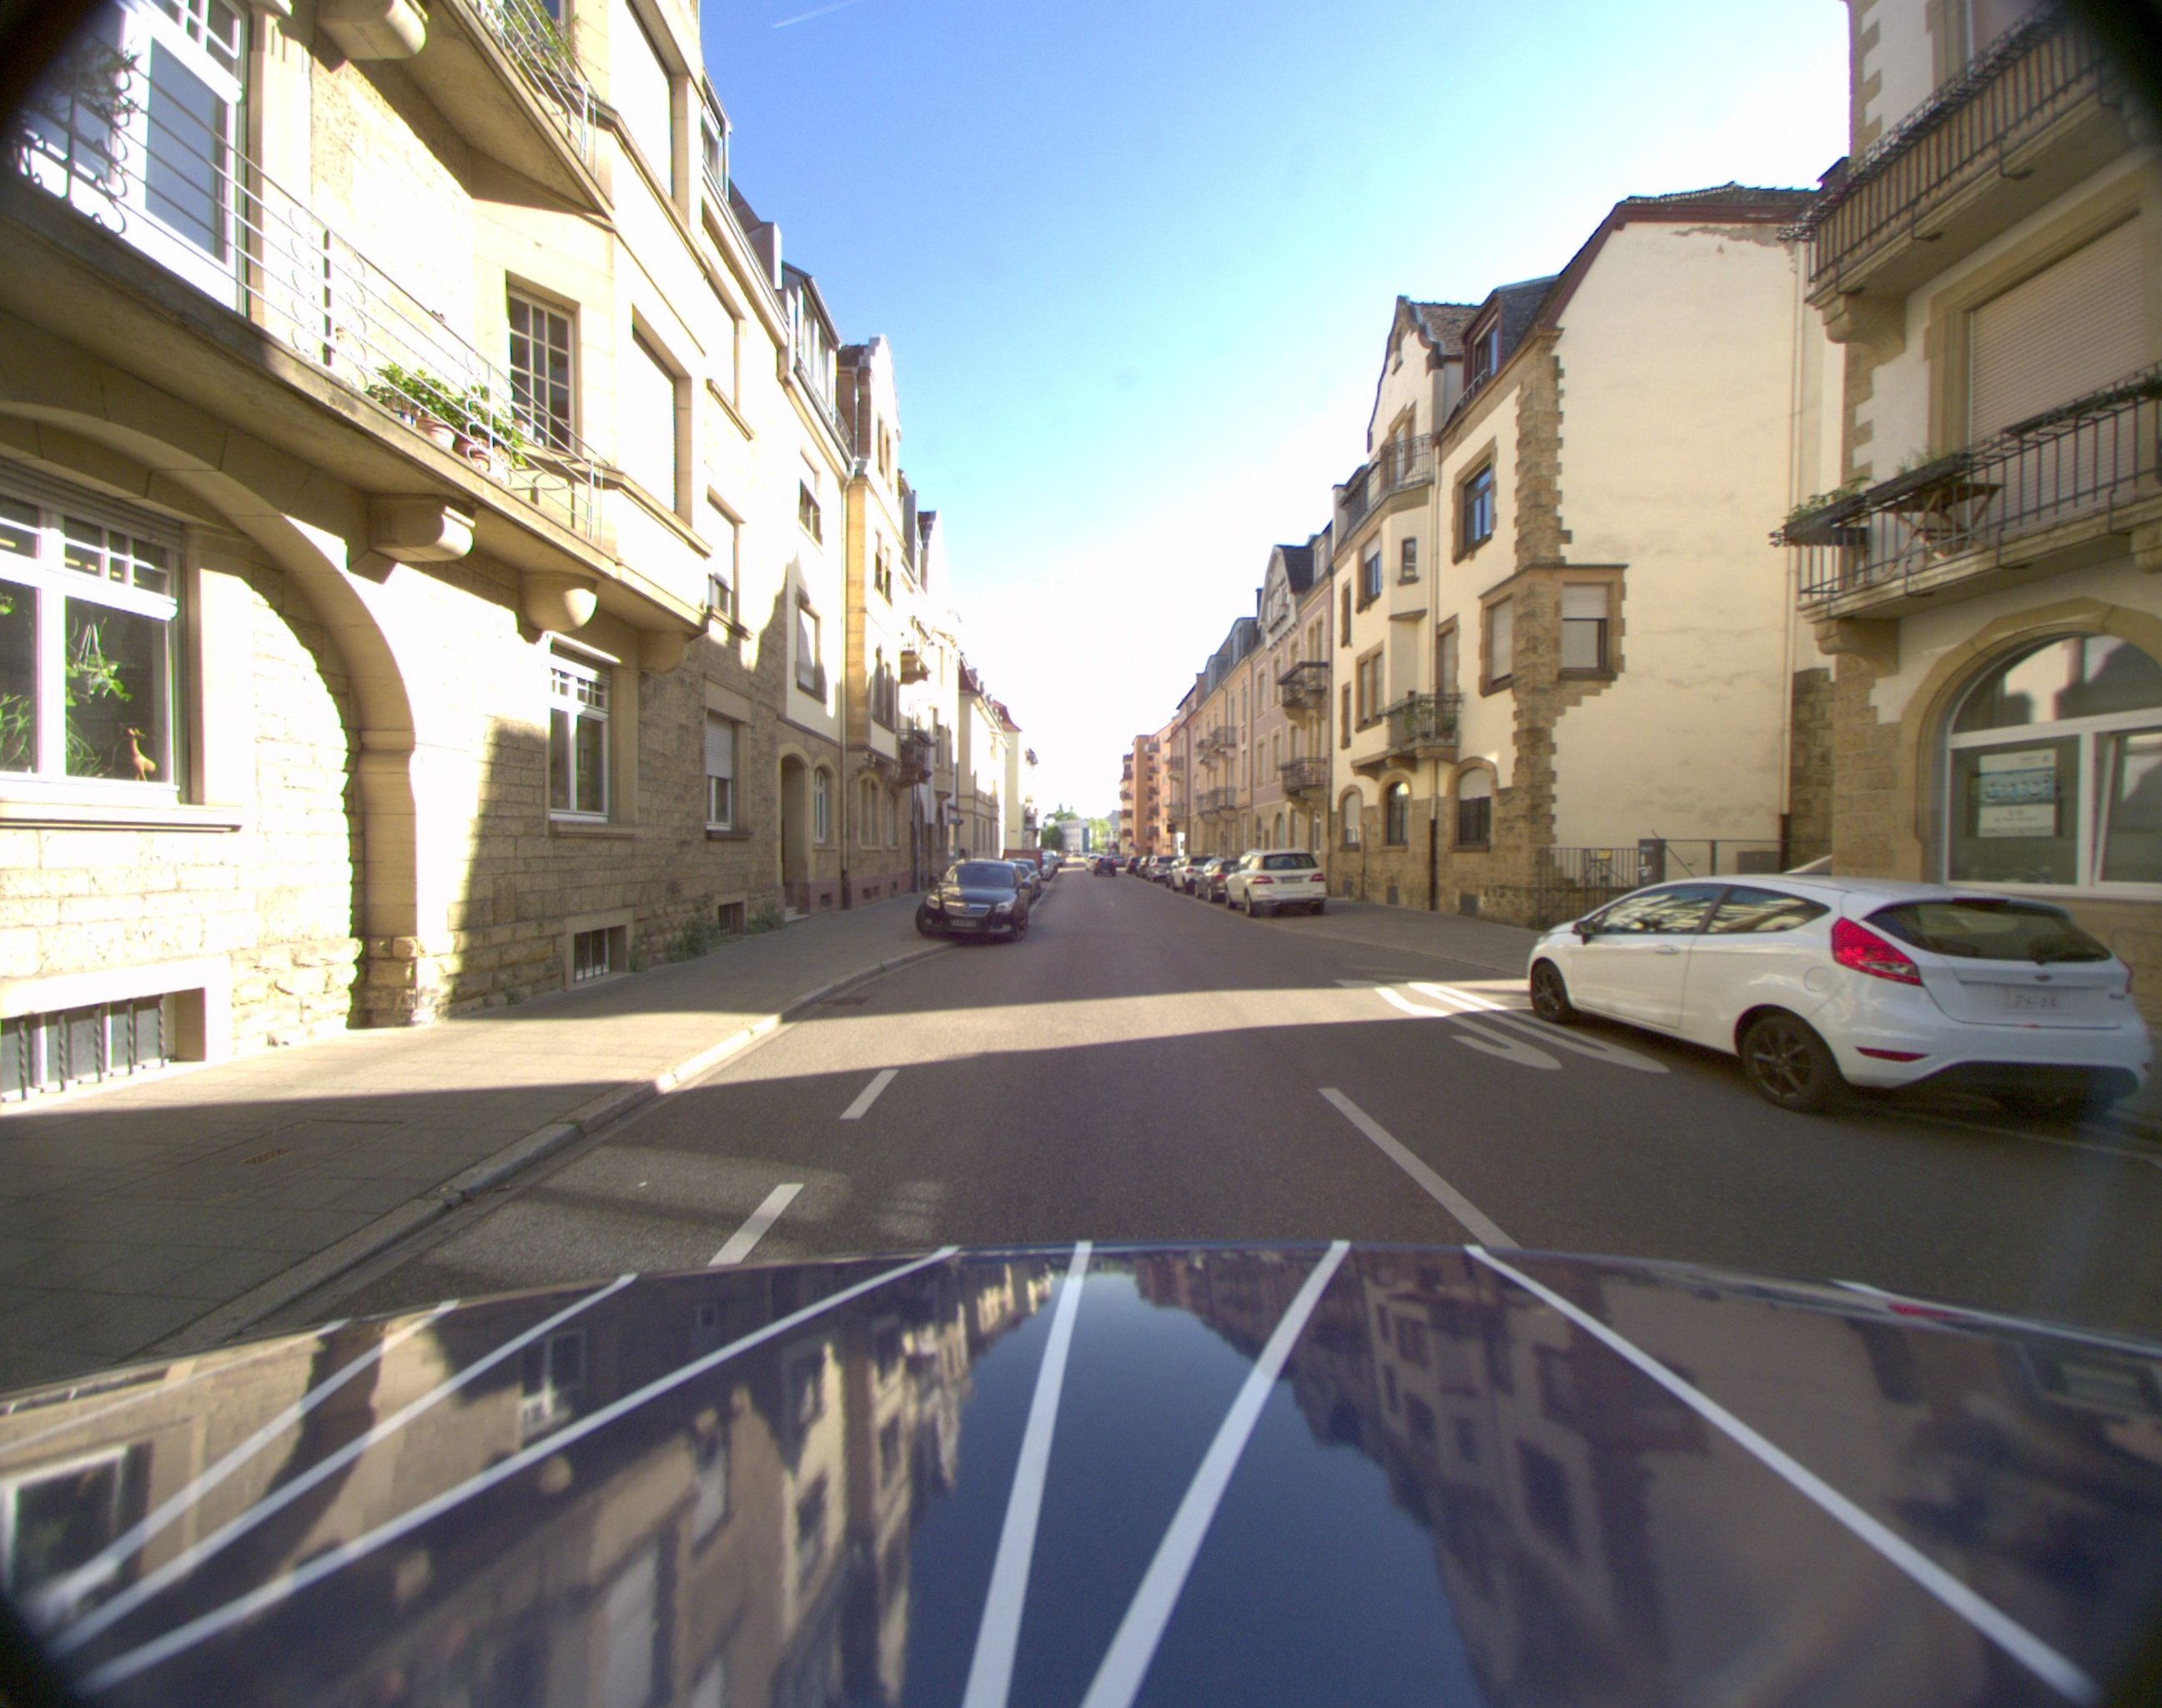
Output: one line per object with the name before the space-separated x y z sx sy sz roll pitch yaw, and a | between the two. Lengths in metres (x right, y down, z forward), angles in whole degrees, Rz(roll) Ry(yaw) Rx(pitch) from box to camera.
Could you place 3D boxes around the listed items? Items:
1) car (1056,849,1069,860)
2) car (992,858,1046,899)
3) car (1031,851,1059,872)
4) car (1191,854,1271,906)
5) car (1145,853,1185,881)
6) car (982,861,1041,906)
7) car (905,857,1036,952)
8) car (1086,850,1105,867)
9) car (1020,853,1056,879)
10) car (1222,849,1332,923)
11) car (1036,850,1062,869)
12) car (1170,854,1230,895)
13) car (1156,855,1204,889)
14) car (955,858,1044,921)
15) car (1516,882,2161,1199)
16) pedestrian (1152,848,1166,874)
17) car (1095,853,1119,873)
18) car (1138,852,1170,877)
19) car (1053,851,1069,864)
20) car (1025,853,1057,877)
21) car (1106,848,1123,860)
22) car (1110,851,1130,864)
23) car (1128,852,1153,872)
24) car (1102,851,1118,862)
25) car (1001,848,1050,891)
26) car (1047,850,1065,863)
car | -2.948 0.097 123.340 2.005 1.722 4.320 1 1 -1
car | -2.388 0.904 30.124 1.824 1.415 4.320 1 1 -1
car | -2.749 0.553 58.669 2.005 1.500 4.320 1 1 -1
car | 5.119 0.834 26.549 1.890 1.500 4.320 -4 1 1
car | 5.017 0.750 45.836 1.890 1.500 4.320 -2 1 1
car | -2.237 0.938 25.382 1.661 1.272 3.729 1 1 -1
car | -2.040 0.892 15.229 2.024 1.500 4.111 2 1 -1
car | 1.310 0.423 70.547 1.702 1.474 3.534 1 0 0
car | -2.657 0.733 47.871 2.005 1.500 4.320 1 1 -1
car | 5.192 0.764 20.694 1.890 1.717 4.211 -2 1 1
car | -2.677 0.471 64.503 2.005 1.500 4.320 1 1 -1
car | 4.981 0.809 32.370 1.890 1.500 4.320 -2 1 1
car | 4.852 0.832 37.810 1.857 1.491 4.318 -2 1 1
car | -2.100 0.885 20.803 2.005 1.499 4.321 1 0 -1
car | 5.109 1.024 5.689 1.656 1.449 3.643 2 0 2
pedestrian | 6.220 0.559 60.587 0.951 2.002 1.067 -2 1 15
car | 1.934 0.645 56.828 1.656 1.449 3.642 0 1 -1
car | 4.988 0.686 52.355 1.809 1.500 4.003 -2 1 1
car | -2.589 0.455 99.956 2.005 1.500 4.320 1 1 -1
car | -2.752 0.754 52.644 2.005 1.500 4.320 1 1 -1
car | 4.512 0.028 101.962 2.005 1.500 4.320 1 1 -1
car | 4.667 0.432 91.396 2.005 1.500 4.320 1 1 -1
car | 4.888 0.660 62.977 1.793 1.500 4.320 -2 1 1
car | 4.106 0.314 107.255 2.005 1.500 4.320 1 1 -1
car | -2.563 0.664 35.813 2.005 1.828 4.320 1 1 -1
car | -2.850 0.289 88.983 2.005 1.500 4.320 1 1 -1
